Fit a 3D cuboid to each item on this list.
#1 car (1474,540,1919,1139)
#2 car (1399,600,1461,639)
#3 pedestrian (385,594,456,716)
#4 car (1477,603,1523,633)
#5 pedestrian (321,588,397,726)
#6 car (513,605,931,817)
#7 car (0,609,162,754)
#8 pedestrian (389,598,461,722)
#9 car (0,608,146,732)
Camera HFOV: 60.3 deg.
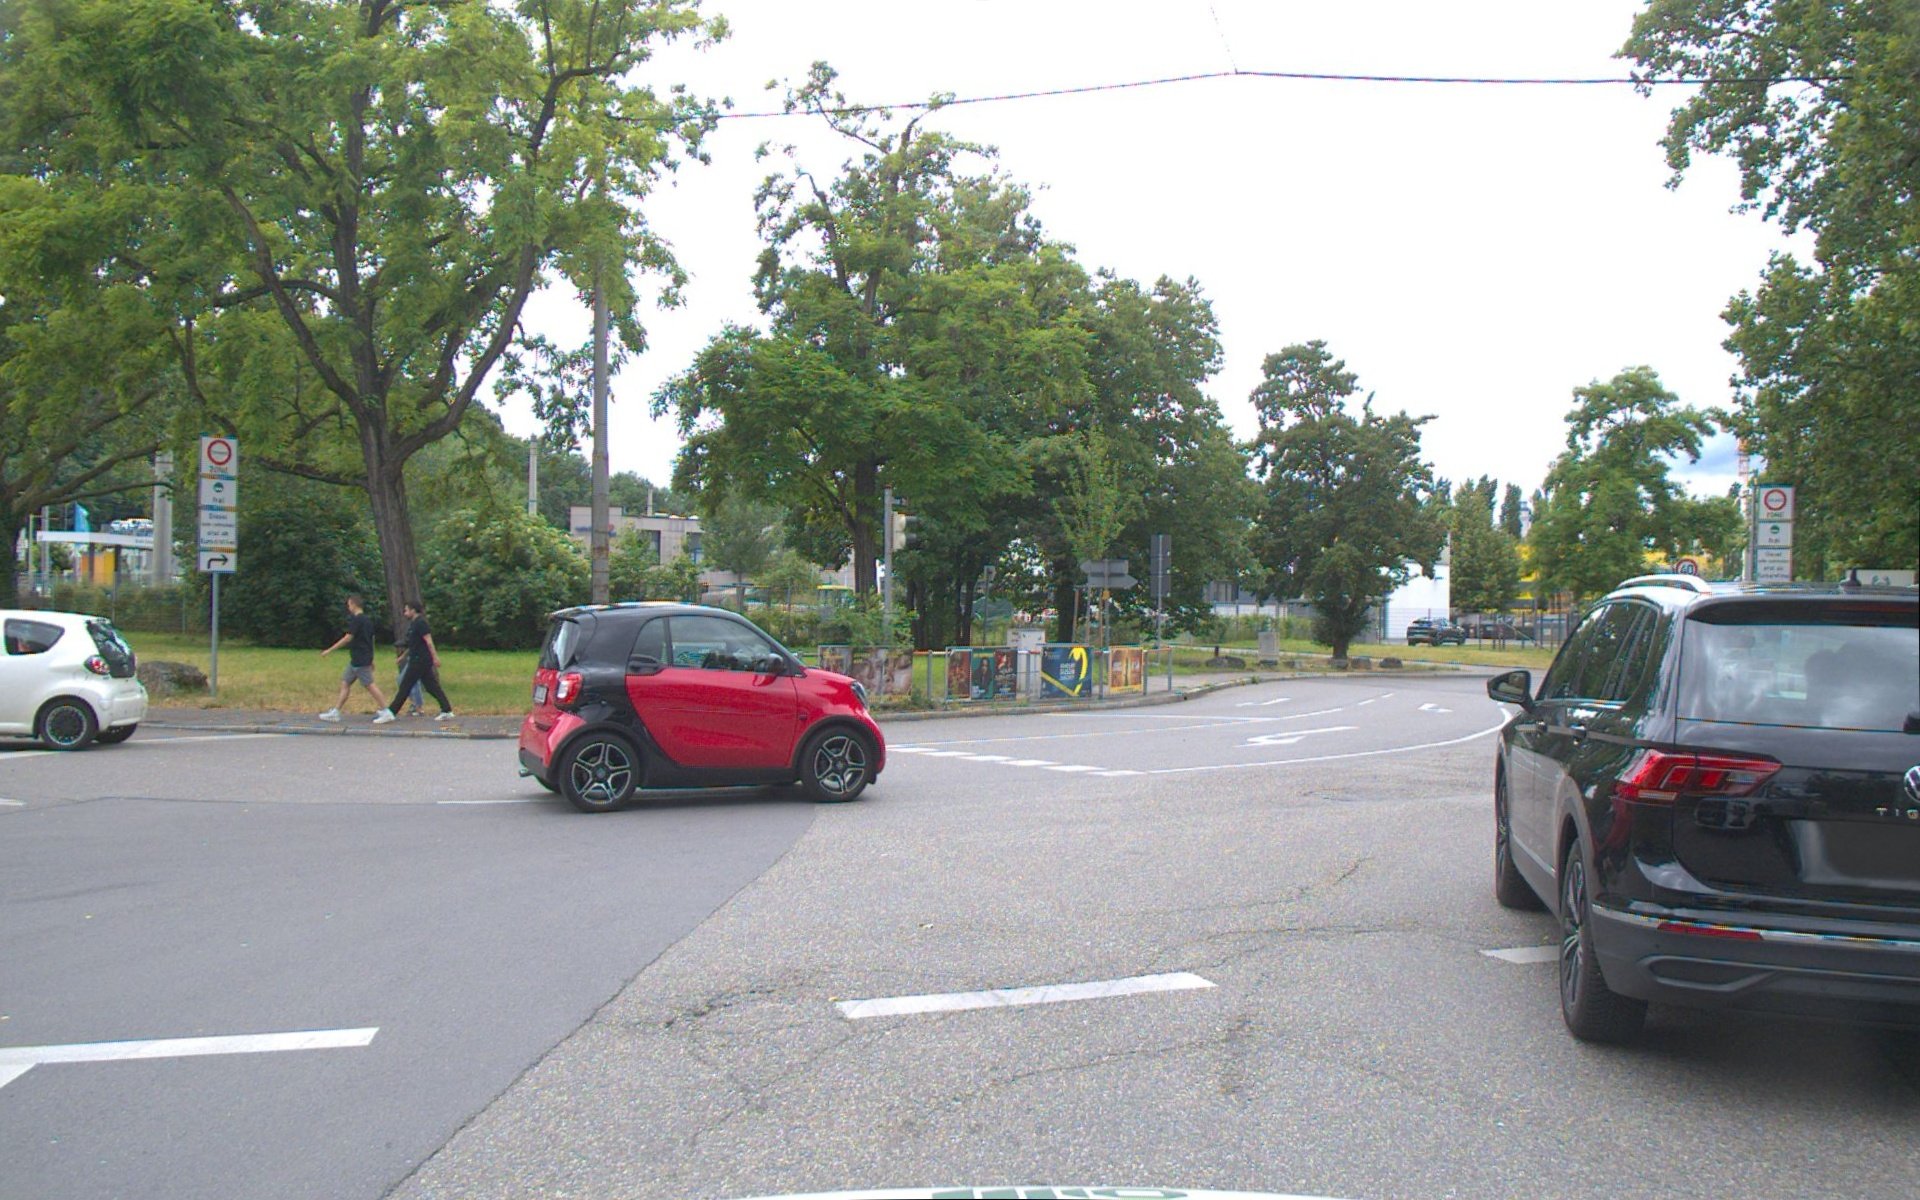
[{"bbox_3d":[3.263,0.678,6.682,1.804,1.664,4.189,2,1,11],"label":"car"},{"bbox_3d":[25.571,1.050,89.863,1.930,2.049,4.204,2,0,35],"label":"car"},{"bbox_3d":[-7.950,0.797,24.393,0.769,1.770,0.695,1,0,3],"label":"pedestrian"},{"bbox_3d":[38.610,1.302,118.243,1.930,2.049,4.204,2,0,35],"label":"car"},{"bbox_3d":[-8.396,0.778,23.120,0.769,1.889,0.695,1,0,3],"label":"pedestrian"},{"bbox_3d":[-1.918,0.800,13.169,2.970,1.490,1.705,0,0,-23],"label":"car"},{"bbox_3d":[-10.588,0.838,17.690,3.358,1.457,1.640,0,0,-11],"label":"car"},{"bbox_3d":[-7.659,0.842,23.688,0.769,1.744,0.695,1,0,3],"label":"pedestrian"},{"bbox_3d":[-12.419,0.840,21.040,3.346,1.482,1.645,1,-1,10],"label":"car"}]
